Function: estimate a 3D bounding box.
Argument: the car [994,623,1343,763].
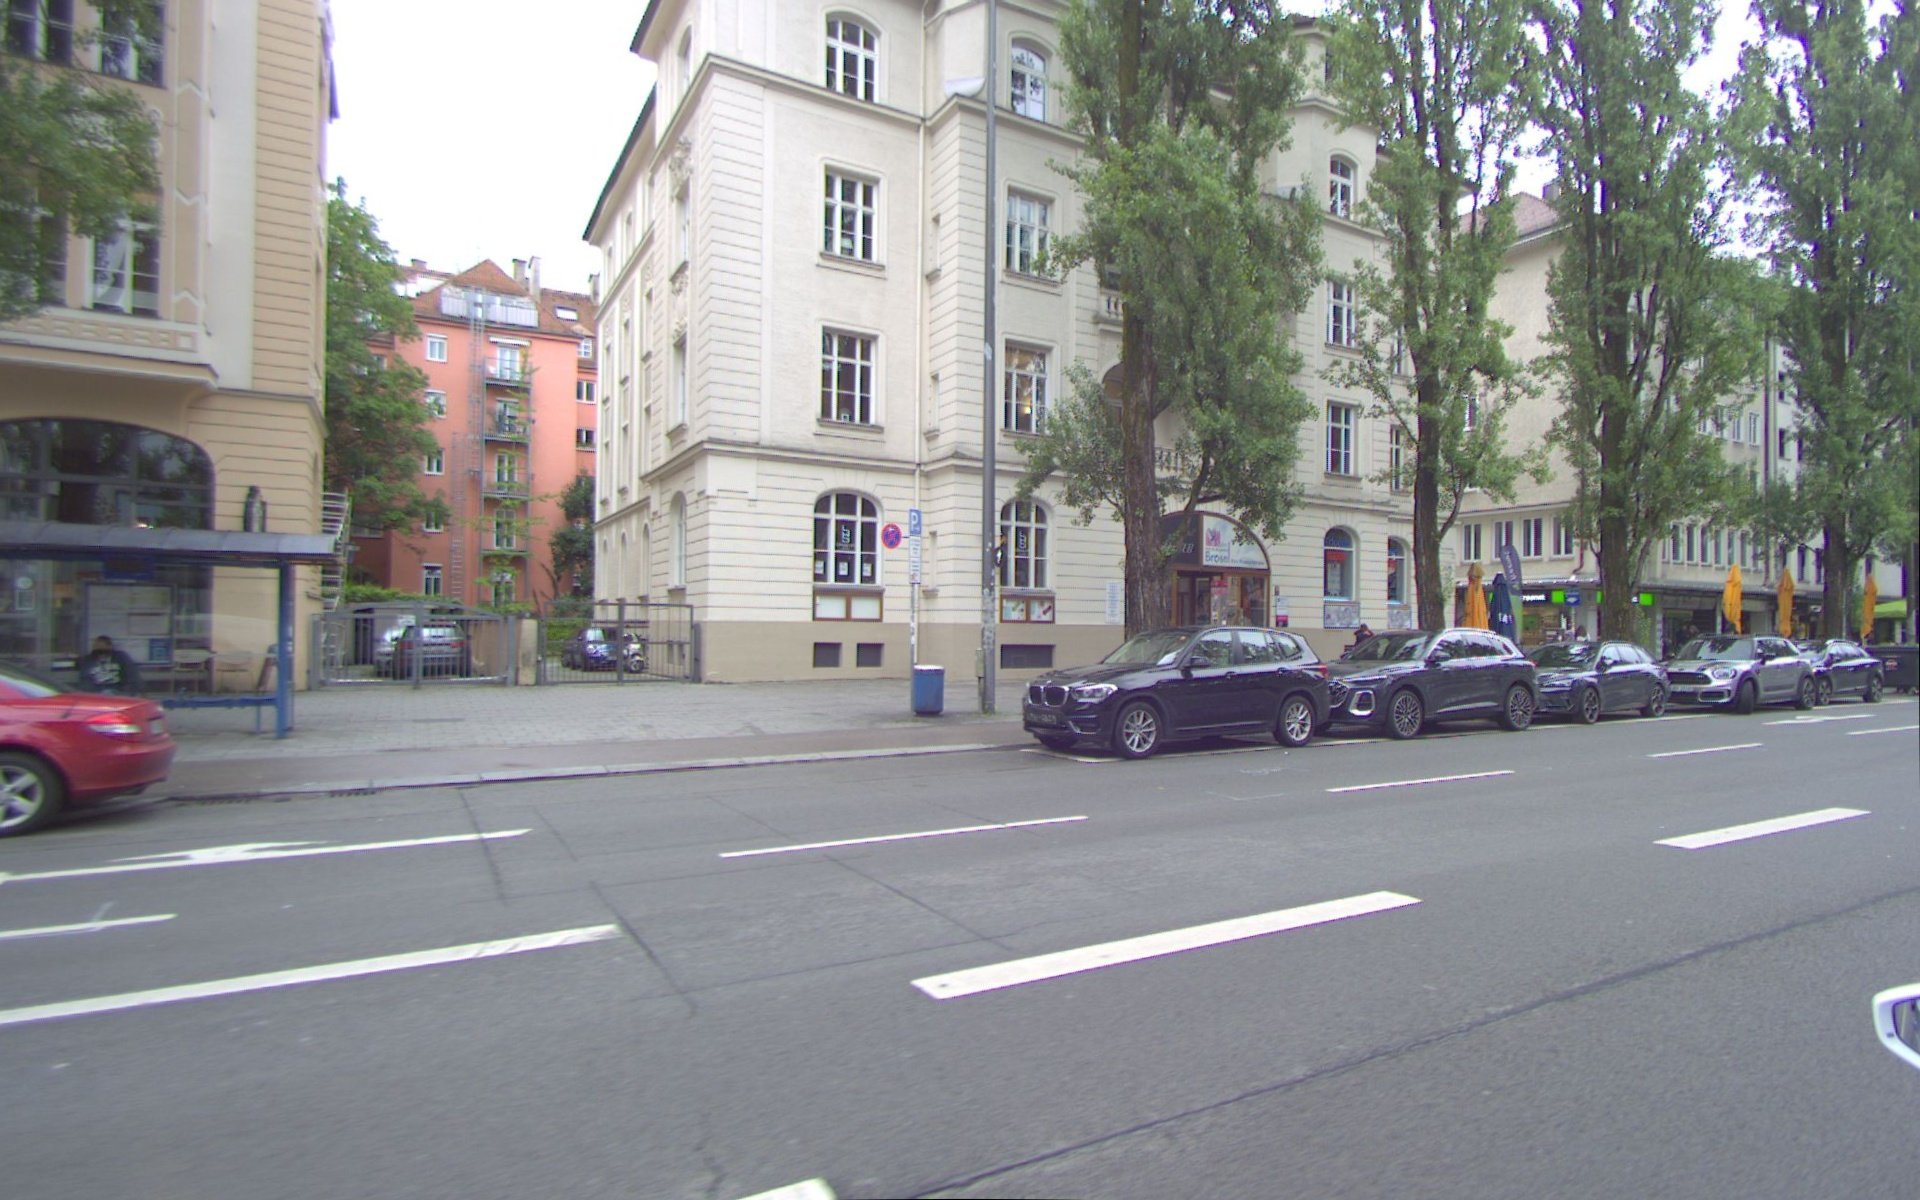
[{"bbox_3d":[2.911,1.182,13.713,4.661,1.639,1.812,1,-3,-31],"label":"car"}]

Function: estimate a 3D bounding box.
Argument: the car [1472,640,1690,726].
[{"bbox_3d":[11.764,1.494,18.926,4.638,1.442,1.675,2,-4,-33],"label":"car"}]

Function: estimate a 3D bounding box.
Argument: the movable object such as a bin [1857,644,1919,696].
[{"bbox_3d":[25.500,1.892,27.447,0.891,1.327,1.271,1,-1,-29],"label":"movable object such as a bin"}]

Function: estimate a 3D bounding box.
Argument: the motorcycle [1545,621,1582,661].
[{"bbox_3d":[17.907,1.220,29.798,1.802,1.154,0.471,2,-2,-44],"label":"motorcycle"}]

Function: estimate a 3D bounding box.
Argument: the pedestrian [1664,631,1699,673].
[{"bbox_3d":[31.346,2.236,43.651,1.134,1.768,0.848,1,-1,-29],"label":"pedestrian"}]

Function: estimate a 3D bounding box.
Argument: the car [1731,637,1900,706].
[{"bbox_3d":[20.514,1.666,24.049,4.260,1.524,1.657,1,-4,-29],"label":"car"}]

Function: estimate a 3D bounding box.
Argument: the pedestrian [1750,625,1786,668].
[{"bbox_3d":[34.560,1.980,42.980,1.134,1.767,0.848,1,-1,-29],"label":"pedestrian"}]

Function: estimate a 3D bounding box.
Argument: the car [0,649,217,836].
[{"bbox_3d":[-8.308,1.054,7.618,4.045,1.315,1.871,1,-2,-30],"label":"car"}]

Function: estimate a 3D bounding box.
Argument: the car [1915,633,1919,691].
[{"bbox_3d":[30.574,1.827,29.962,4.563,1.676,1.856,2,-4,-31],"label":"car"}]

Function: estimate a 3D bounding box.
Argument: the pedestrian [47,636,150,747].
[{"bbox_3d":[-10.591,1.099,12.389,0.747,1.273,0.957,1,0,-28],"label":"pedestrian"}]

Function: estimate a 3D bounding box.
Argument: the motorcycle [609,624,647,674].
[{"bbox_3d":[-9.856,1.431,29.743,0.631,1.390,2.390,1,-1,-29],"label":"motorcycle"}]

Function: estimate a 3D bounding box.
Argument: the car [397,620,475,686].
[{"bbox_3d":[-13.911,1.345,26.662,1.699,1.595,3.720,1,-1,-28],"label":"car"}]

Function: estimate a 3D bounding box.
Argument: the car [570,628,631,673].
[{"bbox_3d":[-11.591,1.593,32.335,1.397,1.326,3.147,1,-1,-28],"label":"car"}]

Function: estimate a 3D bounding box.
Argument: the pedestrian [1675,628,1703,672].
[{"bbox_3d":[29.363,2.004,40.443,0.817,1.744,0.622,1,-1,-29],"label":"pedestrian"}]

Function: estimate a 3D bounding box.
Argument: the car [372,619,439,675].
[{"bbox_3d":[-16.997,1.408,30.874,1.699,1.595,3.720,1,-1,-28],"label":"car"}]

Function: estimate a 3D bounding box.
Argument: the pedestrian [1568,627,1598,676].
[{"bbox_3d":[22.606,1.862,36.461,0.817,1.744,0.622,1,-1,-31],"label":"pedestrian"}]

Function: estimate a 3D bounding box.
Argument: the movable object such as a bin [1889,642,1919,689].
[{"bbox_3d":[27.860,1.894,29.036,0.810,1.334,1.307,1,-1,-31],"label":"movable object such as a bin"}]

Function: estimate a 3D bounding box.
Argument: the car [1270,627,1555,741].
[{"bbox_3d":[7.331,1.276,16.191,4.573,1.615,1.796,1,-2,-28],"label":"car"}]

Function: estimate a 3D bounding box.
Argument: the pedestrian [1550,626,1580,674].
[{"bbox_3d":[22.296,1.825,37.012,0.817,1.744,0.622,1,-1,-31],"label":"pedestrian"}]

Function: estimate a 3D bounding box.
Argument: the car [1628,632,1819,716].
[{"bbox_3d":[16.028,1.480,21.054,4.083,1.596,1.774,1,-1,-30],"label":"car"}]

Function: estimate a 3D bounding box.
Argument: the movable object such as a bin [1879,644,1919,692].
[{"bbox_3d":[27.135,1.930,28.596,0.816,1.334,1.253,1,-1,-31],"label":"movable object such as a bin"}]

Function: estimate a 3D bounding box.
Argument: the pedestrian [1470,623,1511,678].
[{"bbox_3d":[16.504,1.557,31.244,0.941,1.695,0.731,1,-1,-30],"label":"pedestrian"}]

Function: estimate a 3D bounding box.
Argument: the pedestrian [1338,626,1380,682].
[{"bbox_3d":[11.481,1.556,28.890,0.795,1.558,0.765,2,0,-30],"label":"pedestrian"}]
